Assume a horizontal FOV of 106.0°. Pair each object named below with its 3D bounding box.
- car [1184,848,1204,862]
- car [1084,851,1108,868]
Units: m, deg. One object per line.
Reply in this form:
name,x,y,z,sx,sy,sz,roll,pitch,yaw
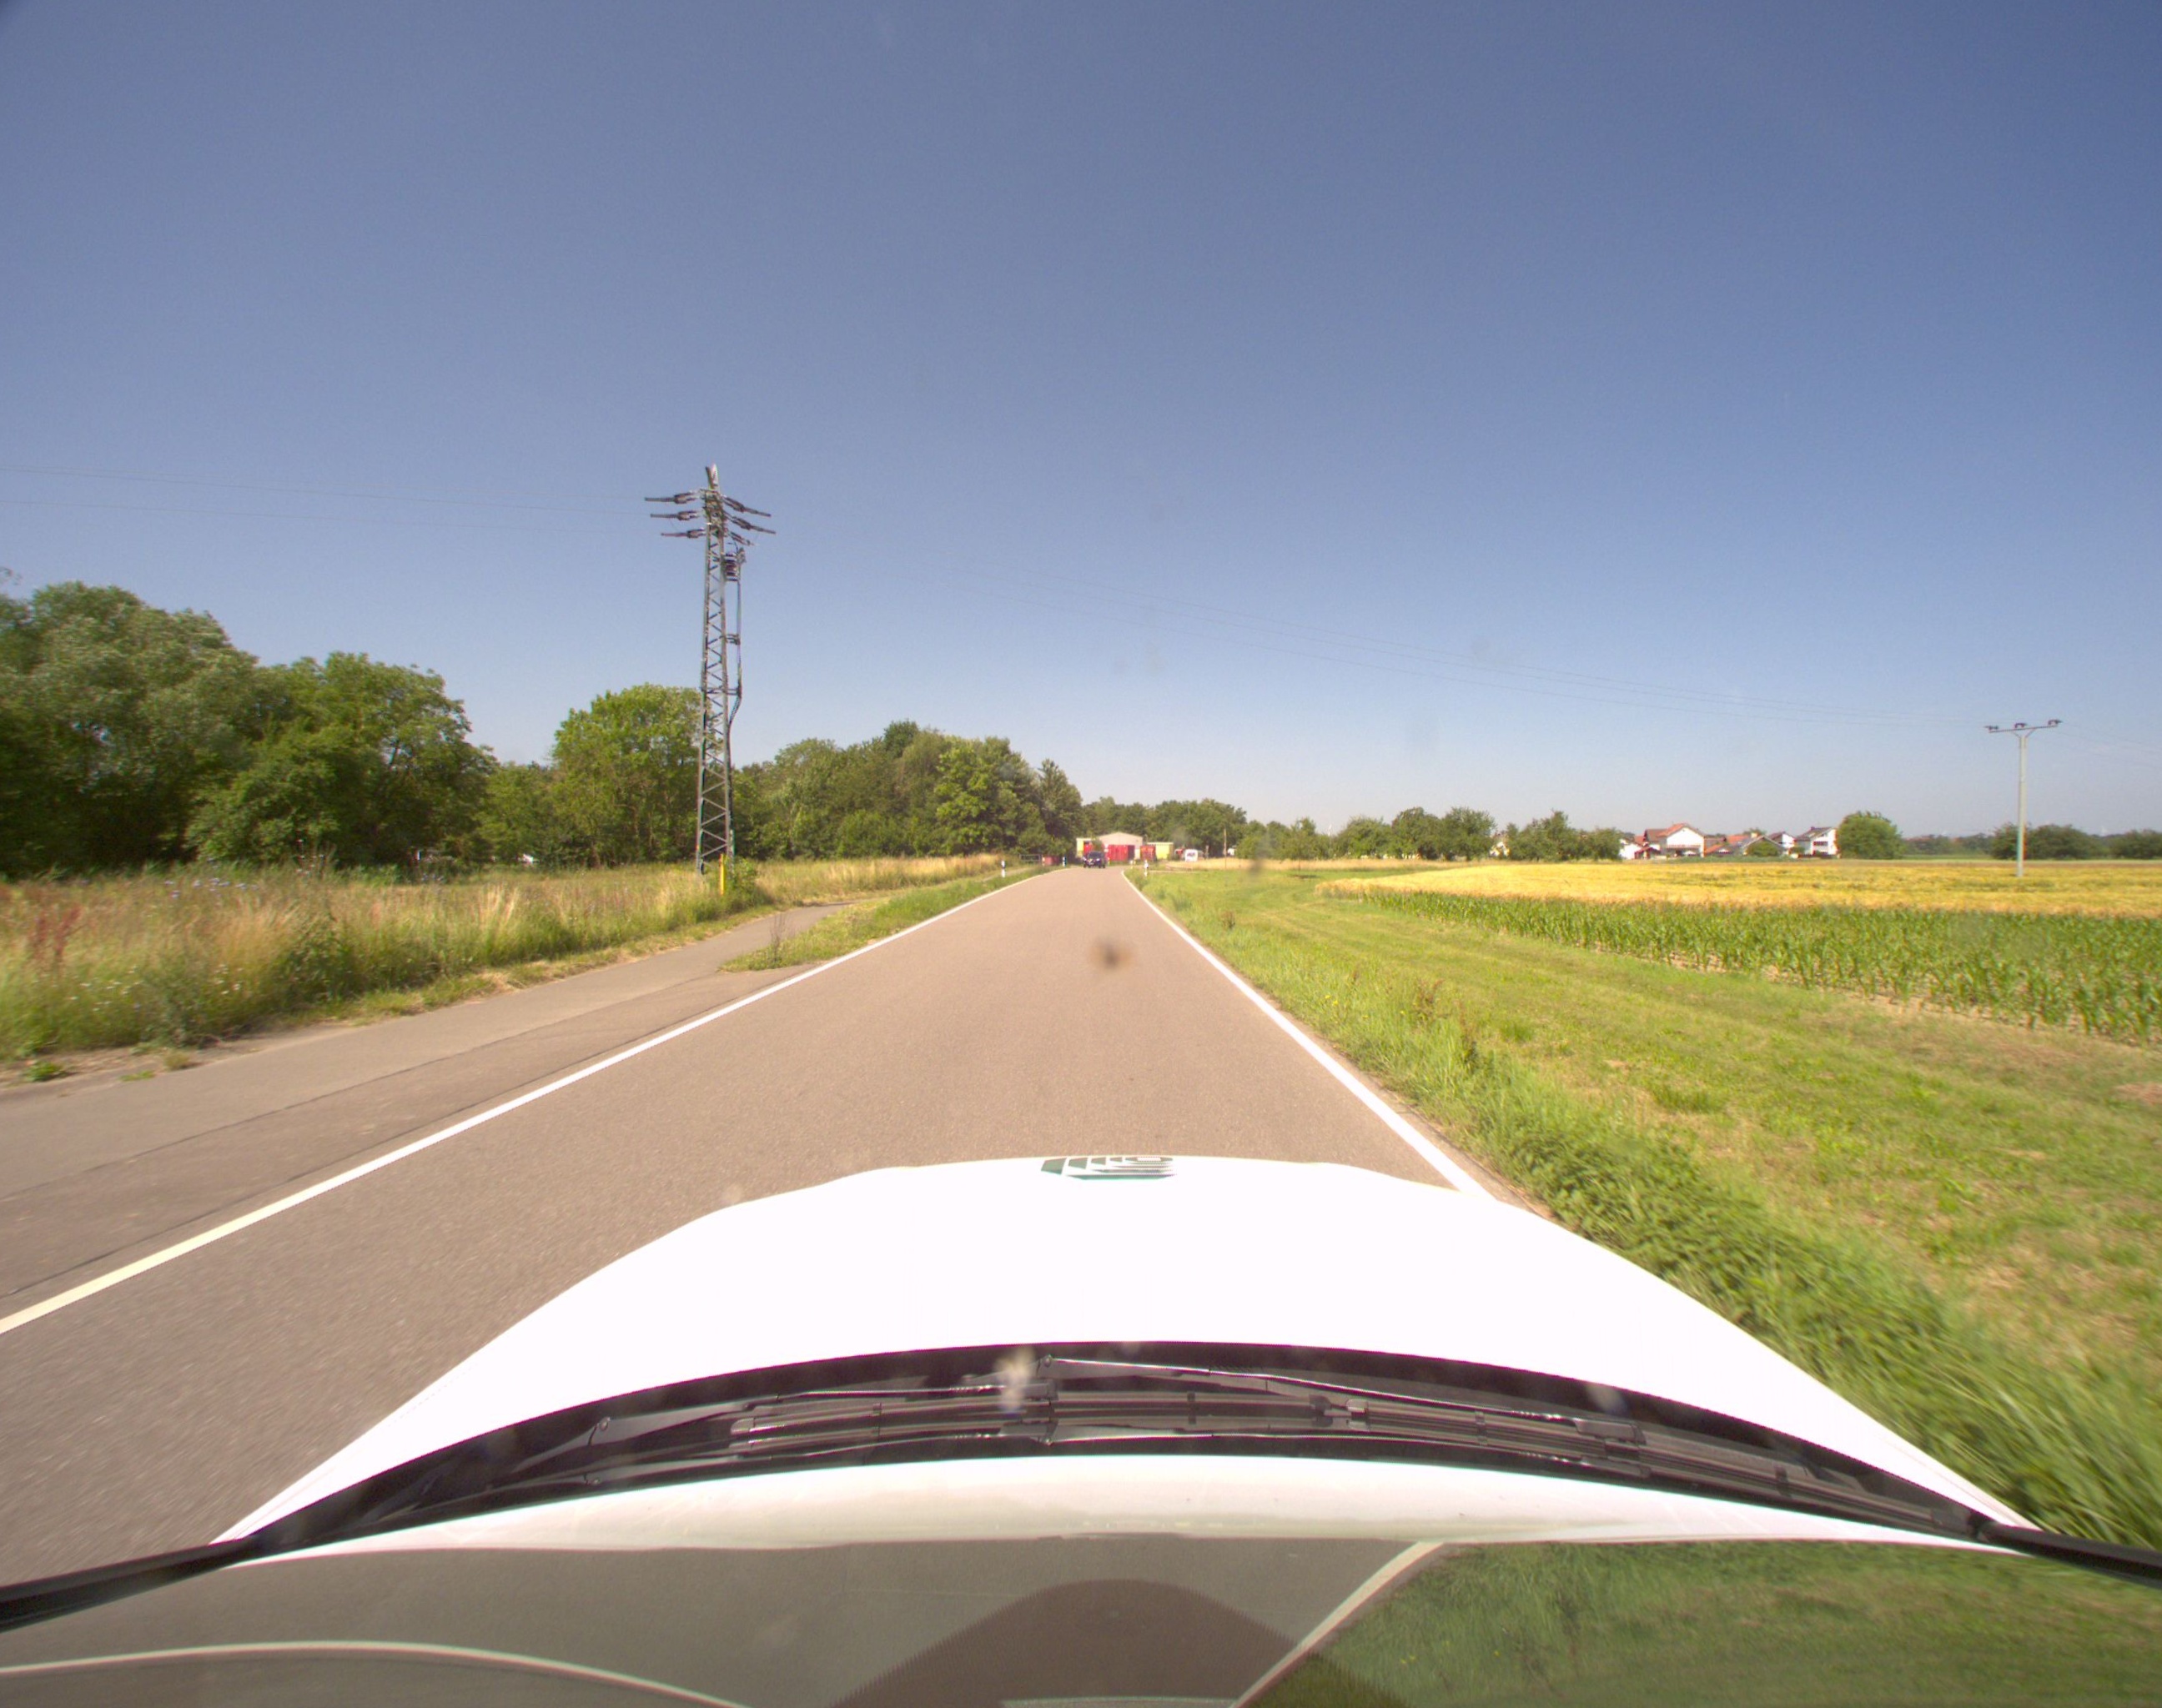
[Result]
car,18.116,0.176,130.459,1.976,2.266,4.751,0,0,22
car,1.650,0.591,86.690,1.853,1.753,4.310,0,0,11
